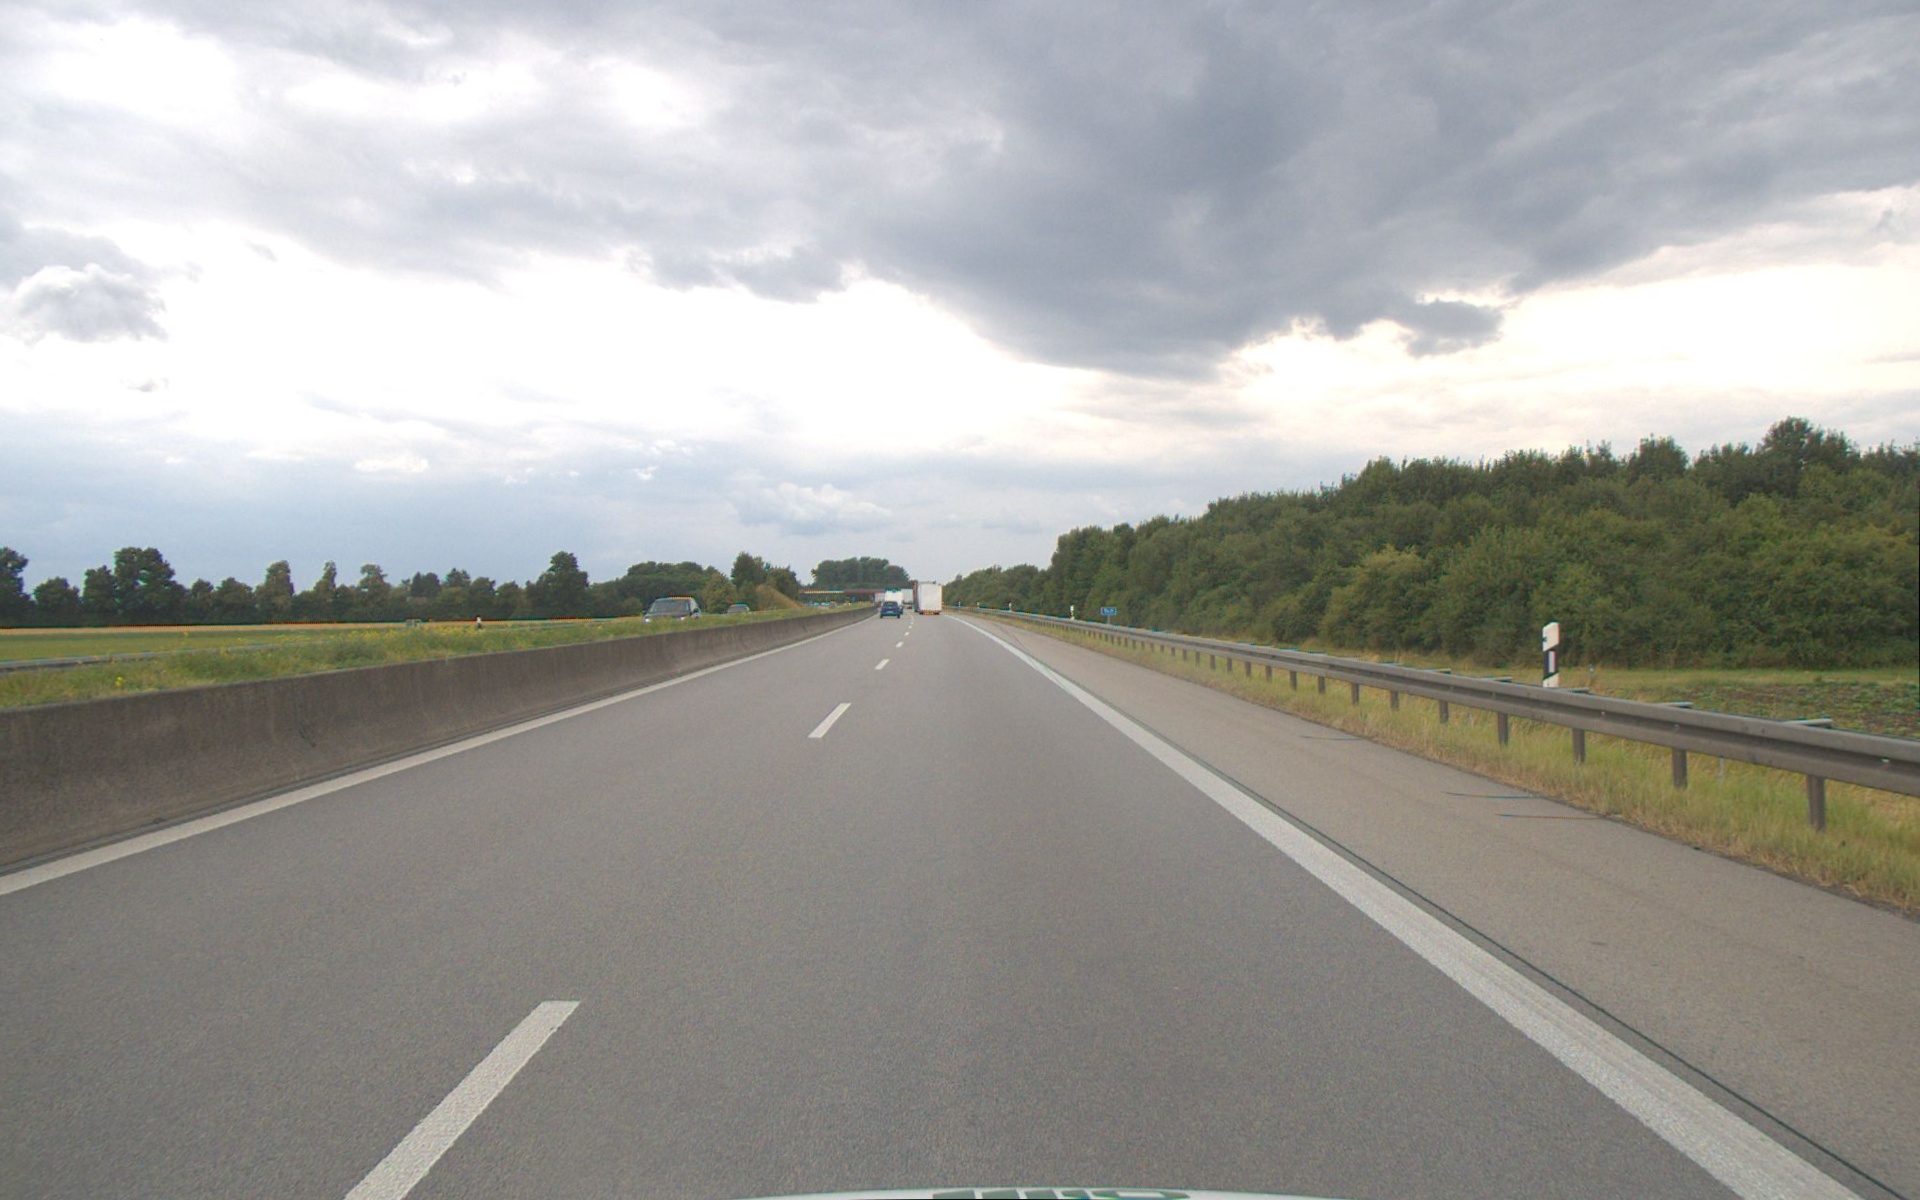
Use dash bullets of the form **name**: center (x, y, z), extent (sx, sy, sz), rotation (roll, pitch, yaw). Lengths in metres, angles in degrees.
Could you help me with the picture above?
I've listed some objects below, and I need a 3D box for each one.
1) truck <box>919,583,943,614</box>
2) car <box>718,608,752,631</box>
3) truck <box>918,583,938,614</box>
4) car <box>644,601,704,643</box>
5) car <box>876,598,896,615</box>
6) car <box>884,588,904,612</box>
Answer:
- **truck**: center (-3.144, -0.089, 177.928), extent (2.366, 3.279, 7.140), rotation (0, -1, -2)
- **car**: center (-15.554, 1.345, 114.444), extent (1.753, 1.498, 4.903), rotation (-2, 0, -2)
- **truck**: center (-4.393, -0.180, 224.452), extent (2.619, 4.116, 11.104), rotation (-1, 0, -1)
- **car**: center (-10.778, 0.797, 62.468), extent (1.655, 1.518, 4.182), rotation (-1, 0, -2)
- **car**: center (-6.238, 0.535, 139.335), extent (1.630, 1.432, 3.645), rotation (0, 0, -3)
- **car**: center (-7.229, 0.016, 181.611), extent (2.087, 2.526, 5.837), rotation (-1, -1, -2)
